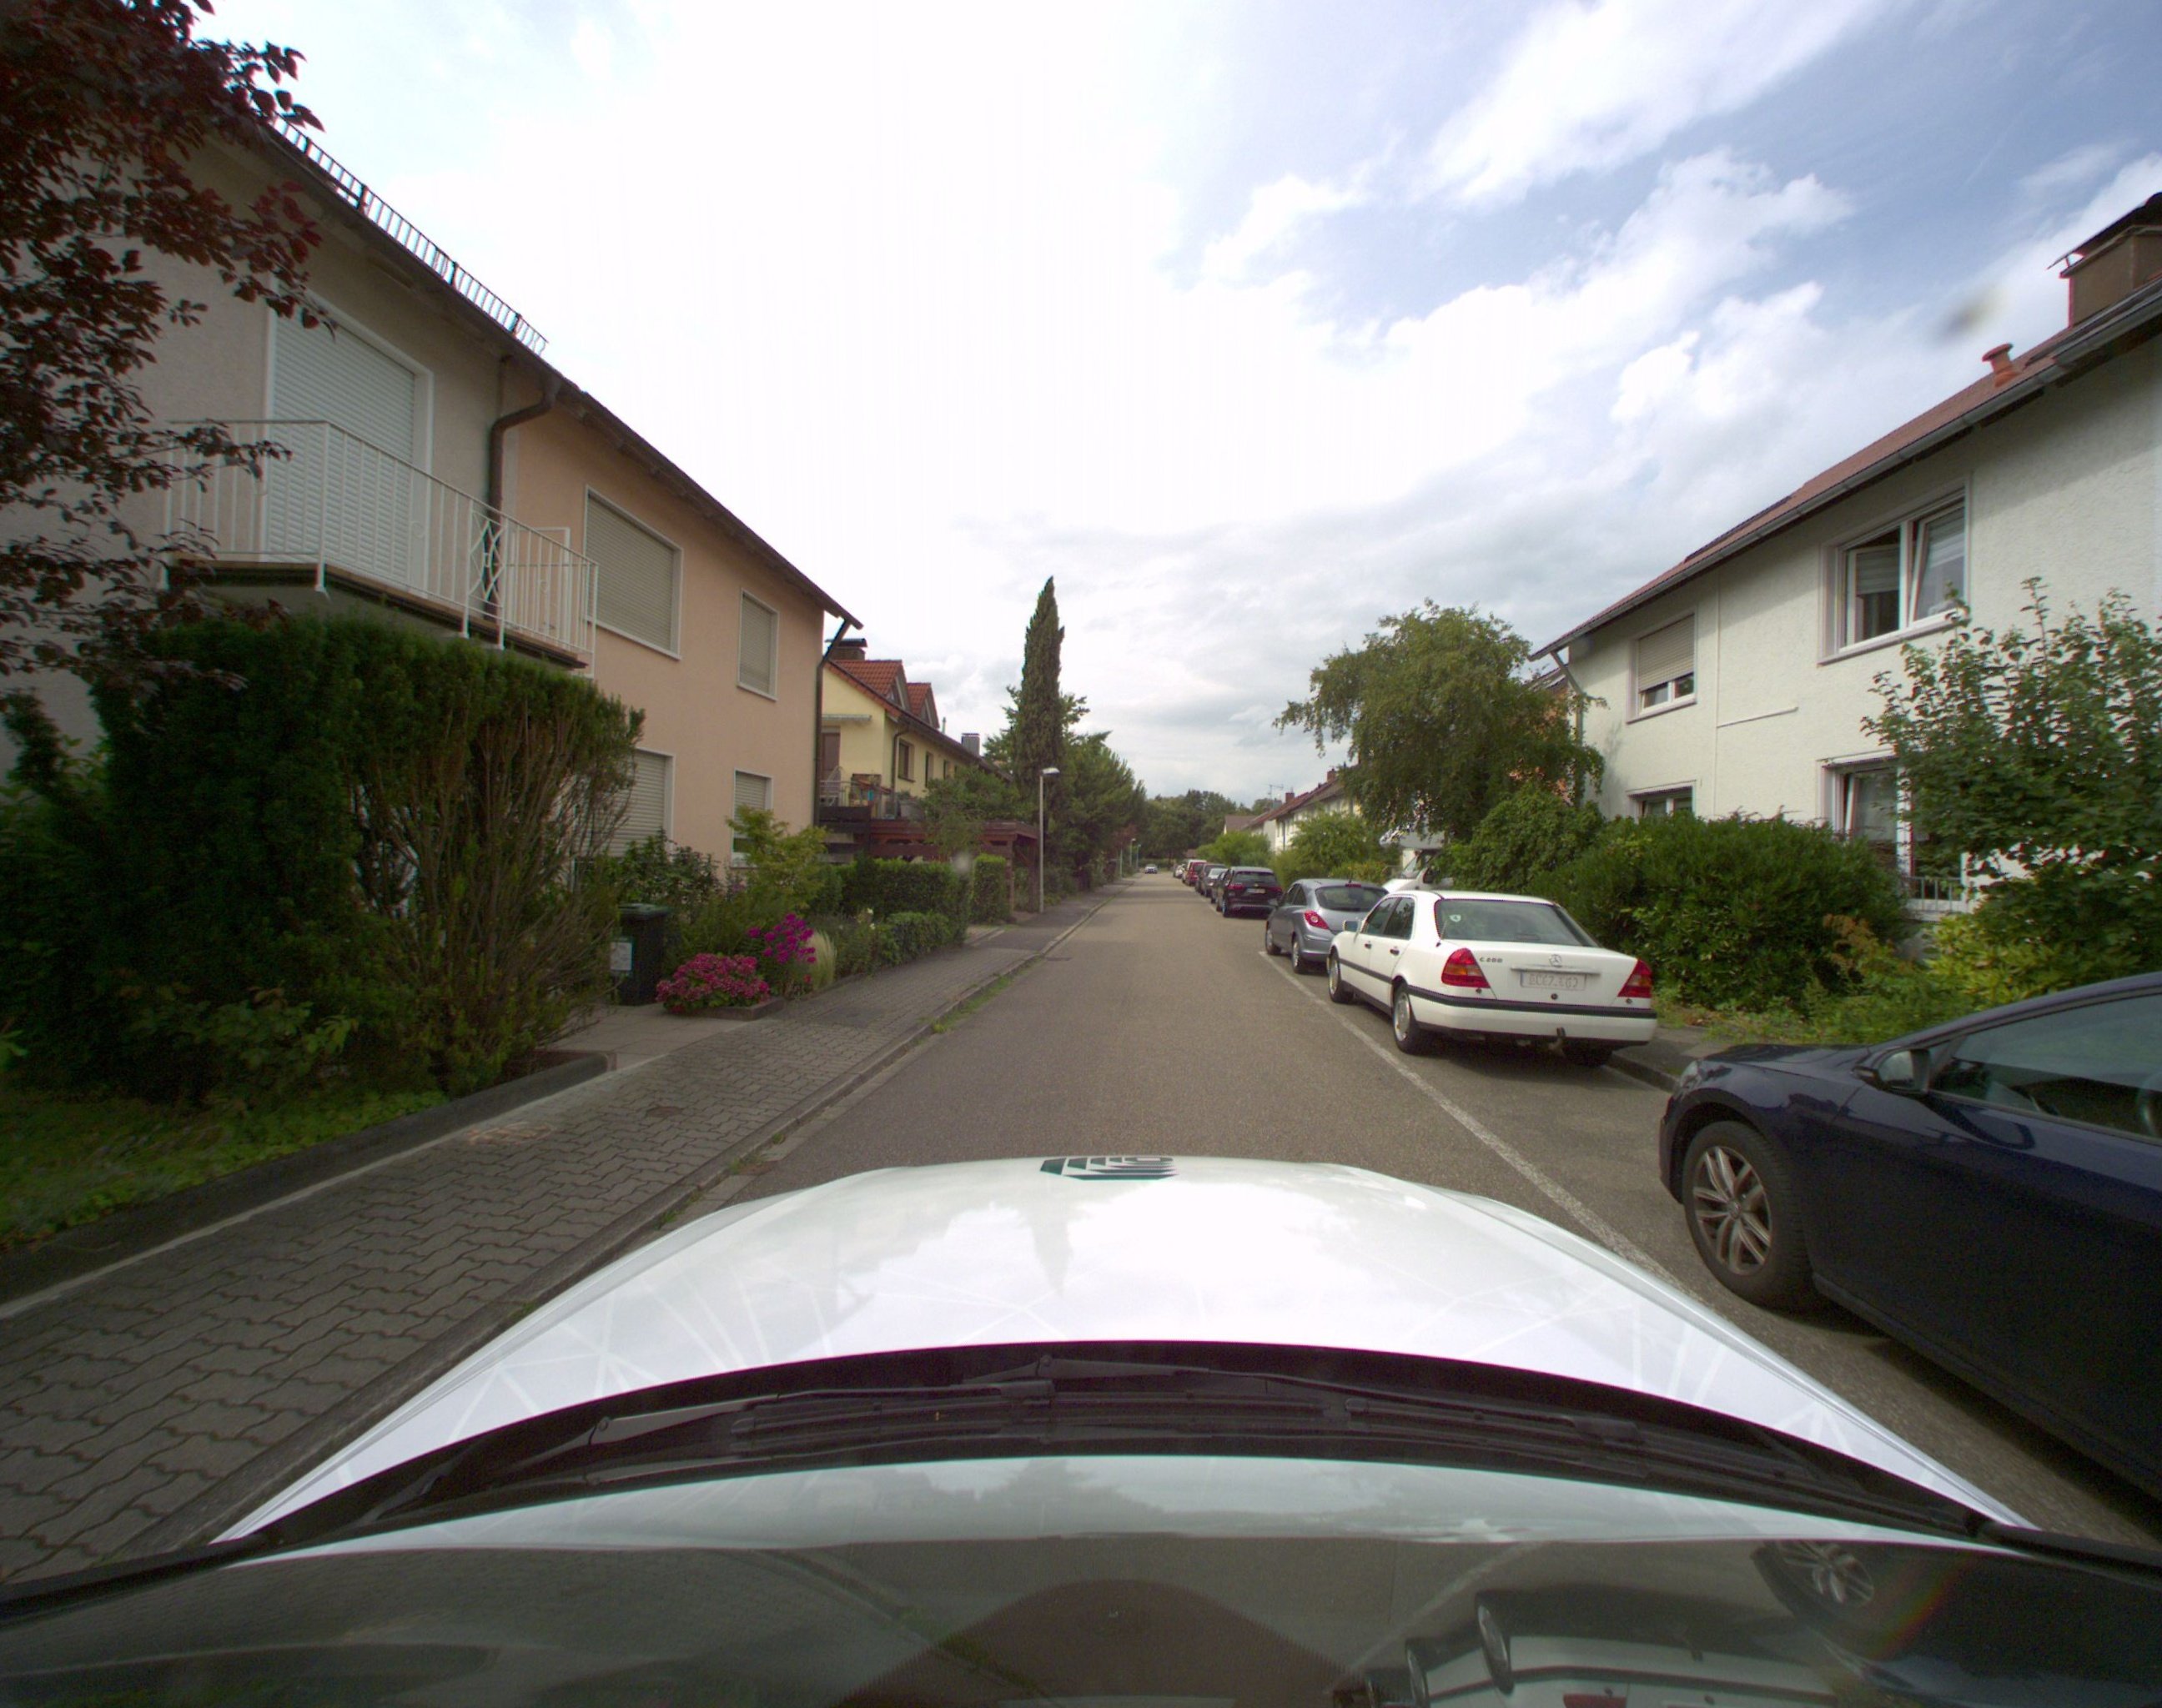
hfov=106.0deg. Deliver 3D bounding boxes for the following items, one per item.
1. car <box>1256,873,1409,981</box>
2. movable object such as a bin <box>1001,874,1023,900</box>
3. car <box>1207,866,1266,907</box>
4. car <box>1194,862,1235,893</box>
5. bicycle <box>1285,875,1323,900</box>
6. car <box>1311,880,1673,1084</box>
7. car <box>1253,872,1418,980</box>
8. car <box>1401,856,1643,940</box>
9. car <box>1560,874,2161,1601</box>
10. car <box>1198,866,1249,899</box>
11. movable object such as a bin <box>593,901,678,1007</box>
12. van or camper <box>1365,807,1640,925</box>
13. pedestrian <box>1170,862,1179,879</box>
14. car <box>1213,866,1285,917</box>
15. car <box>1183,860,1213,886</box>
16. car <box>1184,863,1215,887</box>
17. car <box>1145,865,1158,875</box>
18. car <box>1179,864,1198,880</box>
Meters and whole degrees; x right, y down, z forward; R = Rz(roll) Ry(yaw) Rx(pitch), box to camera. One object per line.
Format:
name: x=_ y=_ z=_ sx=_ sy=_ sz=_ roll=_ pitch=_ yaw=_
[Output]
car: x=4.093 y=1.103 z=13.907 sx=1.733 sy=1.471 sz=4.224 roll=1 pitch=0 yaw=6
movable object such as a bin: x=-2.642 y=1.252 z=31.200 sx=0.708 sy=0.956 sz=0.752 roll=0 pitch=-1 yaw=5
car: x=6.019 y=1.223 z=31.863 sx=1.725 sy=1.428 sz=4.129 roll=1 pitch=-1 yaw=3
car: x=7.502 y=1.275 z=46.117 sx=1.859 sy=1.653 sz=4.468 roll=1 pitch=-1 yaw=4
bicycle: x=9.554 y=1.443 z=34.866 sx=1.528 sy=1.023 sz=0.377 roll=1 pitch=-1 yaw=10
car: x=3.693 y=1.012 z=8.369 sx=1.685 sy=1.365 sz=4.704 roll=1 pitch=-1 yaw=5
car: x=4.146 y=1.093 z=13.952 sx=1.696 sy=1.442 sz=4.224 roll=2 pitch=-1 yaw=3
car: x=9.914 y=0.954 z=18.639 sx=4.506 sy=1.708 sz=1.903 roll=1 pitch=-1 yaw=8
car: x=3.134 y=0.805 z=1.696 sx=1.858 sy=1.440 sz=4.858 roll=1 pitch=-1 yaw=6
car: x=6.863 y=1.360 z=39.696 sx=1.860 sy=1.407 sz=4.771 roll=2 pitch=0 yaw=3
movable object such as a bin: x=-4.221 y=0.931 z=7.736 sx=0.487 sy=0.931 sz=0.506 roll=1 pitch=-1 yaw=4
van or camper: x=10.578 y=0.291 z=20.924 sx=5.774 sy=2.818 sz=2.539 roll=0 pitch=-1 yaw=3
pedestrian: x=10.808 y=1.916 z=94.320 sx=0.908 sy=2.014 sz=0.951 roll=0 pitch=-1 yaw=2
car: x=5.305 y=1.138 z=26.238 sx=1.741 sy=1.467 sz=4.654 roll=1 pitch=-1 yaw=5
car: x=9.300 y=1.489 z=65.229 sx=2.012 sy=1.947 sz=4.751 roll=0 pitch=-1 yaw=3
car: x=8.738 y=1.533 z=60.251 sx=1.803 sy=1.651 sz=4.412 roll=0 pitch=-1 yaw=2
car: x=11.285 y=2.514 z=129.851 sx=1.924 sy=1.556 sz=4.642 roll=0 pitch=-1 yaw=6
car: x=11.154 y=1.831 z=84.688 sx=1.705 sy=1.544 sz=3.980 roll=2 pitch=-1 yaw=6
